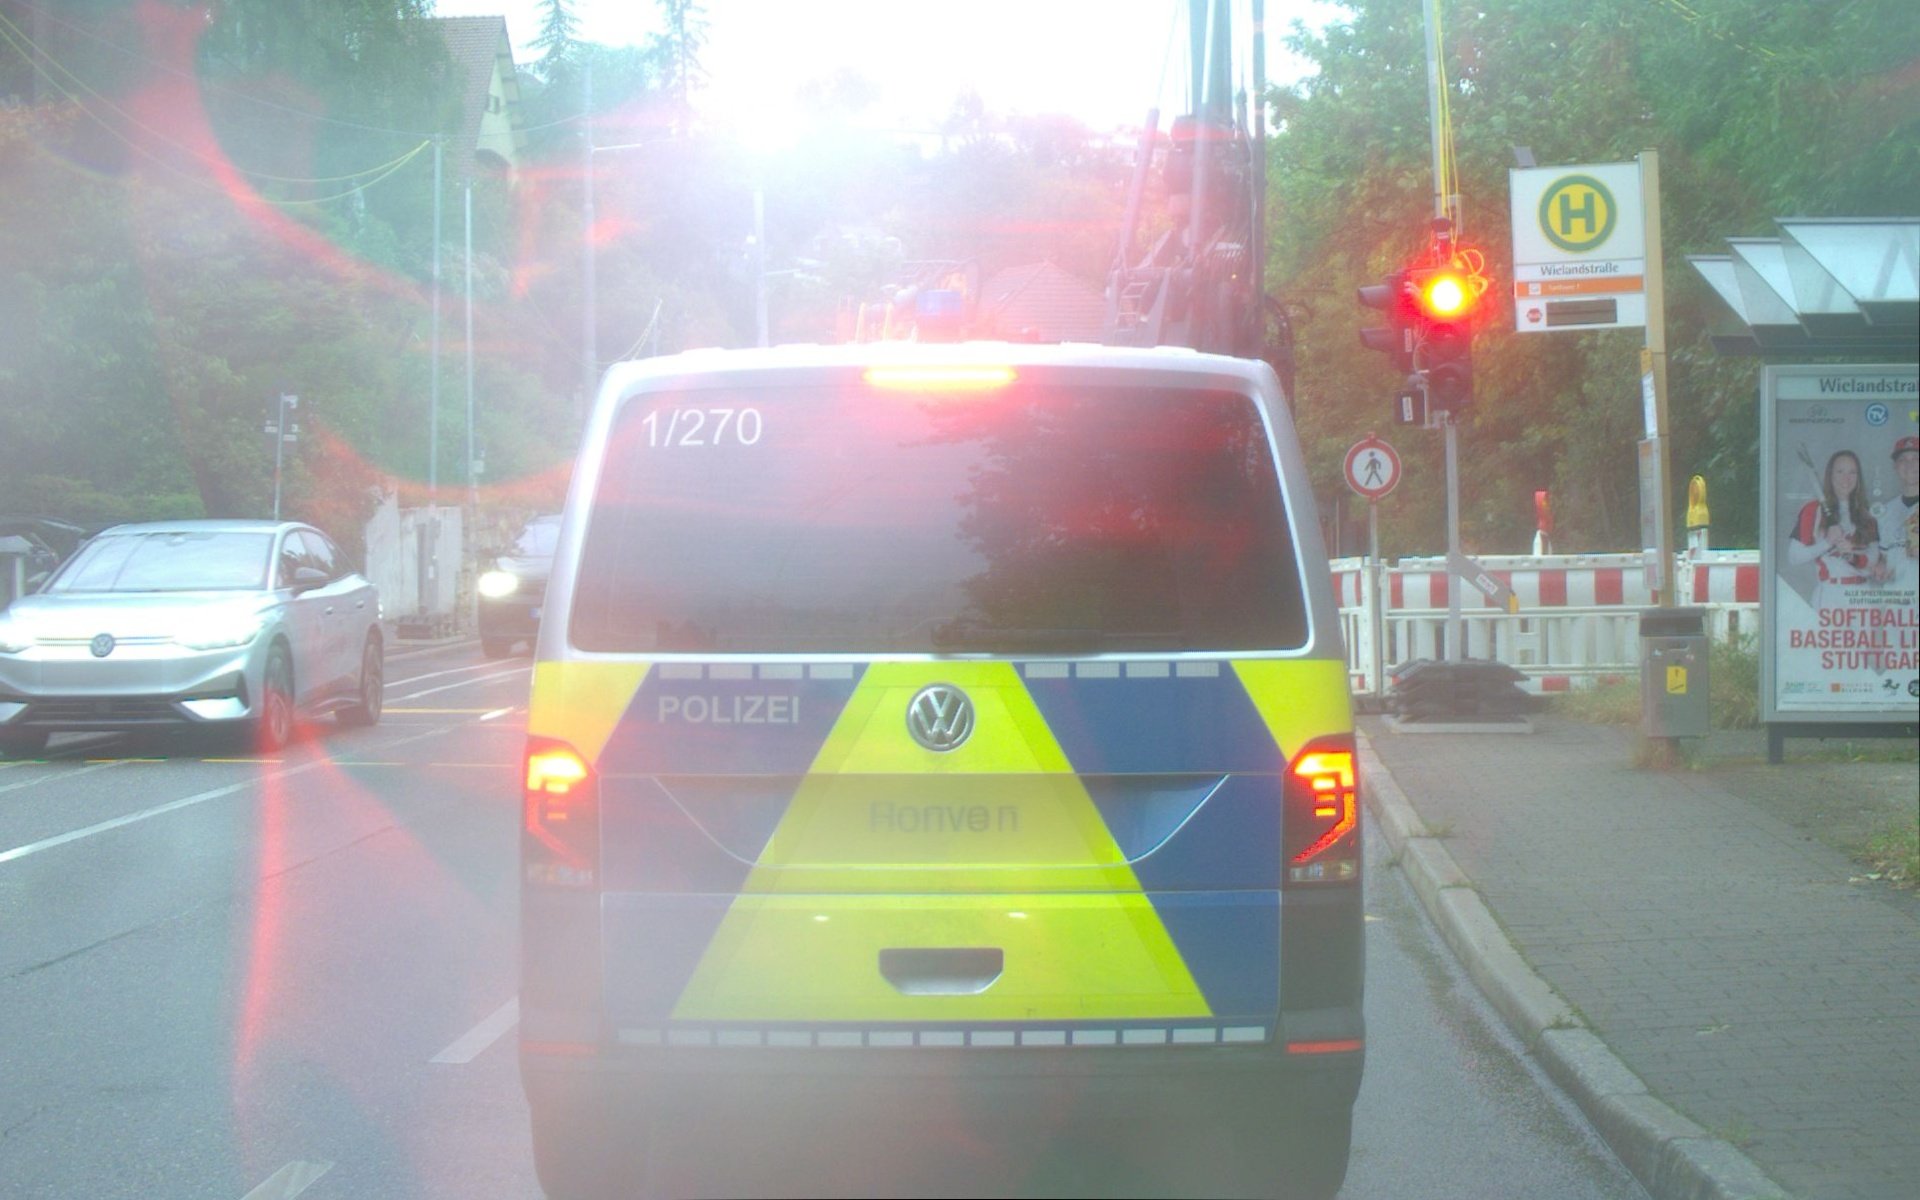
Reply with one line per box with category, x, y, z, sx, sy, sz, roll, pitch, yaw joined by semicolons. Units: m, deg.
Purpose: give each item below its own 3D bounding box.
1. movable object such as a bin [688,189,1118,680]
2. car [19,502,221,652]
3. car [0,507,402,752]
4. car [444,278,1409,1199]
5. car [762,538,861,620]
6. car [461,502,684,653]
movable object such as a bin;-0.419;-1.468;31.630;2.832;4.163;4.378;1;1;15
car;-9.322;-0.289;37.974;1.765;1.481;3.743;1;3;-20
car;-5.234;0.160;23.785;1.853;1.522;4.819;0;1;1
car;-0.092;0.354;8.831;1.893;2.043;4.000;1;1;-1
car;-2.804;-0.429;65.465;1.764;1.458;3.886;1;1;-1
car;-4.393;-0.278;39.553;1.867;1.616;4.164;1;1;3
